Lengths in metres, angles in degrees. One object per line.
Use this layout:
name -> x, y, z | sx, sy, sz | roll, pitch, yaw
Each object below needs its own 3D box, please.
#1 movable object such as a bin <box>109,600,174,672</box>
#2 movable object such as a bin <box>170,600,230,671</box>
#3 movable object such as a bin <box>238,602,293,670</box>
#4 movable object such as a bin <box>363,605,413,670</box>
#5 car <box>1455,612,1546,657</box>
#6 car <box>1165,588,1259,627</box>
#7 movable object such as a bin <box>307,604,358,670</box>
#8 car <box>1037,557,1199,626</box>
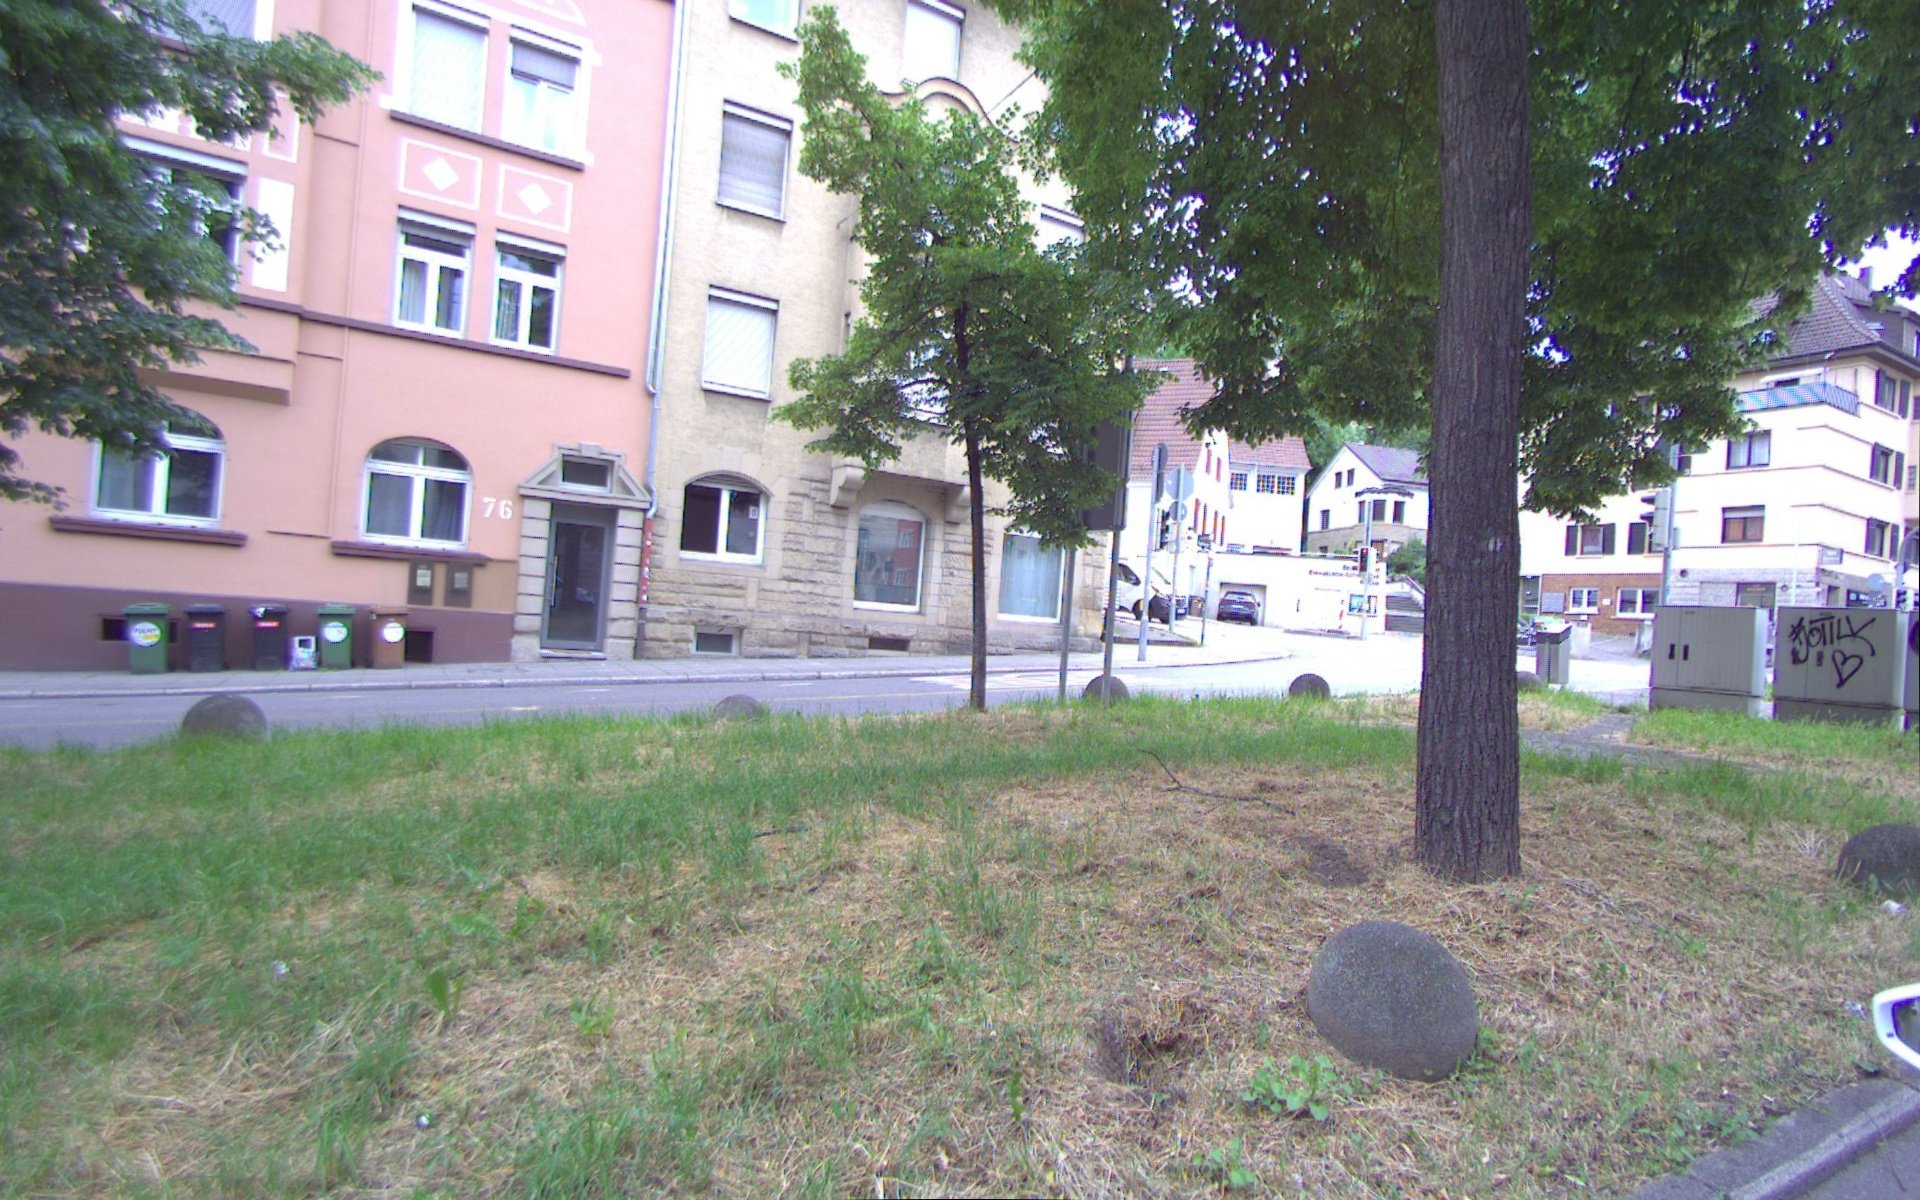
movable object such as a bin -> -11.000, 0.471, 13.513 | 0.595, 0.916, 0.605 | 1, 2, -33
movable object such as a bin -> -10.465, 0.482, 13.841 | 0.595, 0.916, 0.605 | 1, 2, -33
movable object such as a bin -> -9.812, 0.500, 14.207 | 0.595, 0.916, 0.605 | 1, 2, -33
movable object such as a bin -> -8.512, 0.549, 14.945 | 0.595, 0.916, 0.605 | 1, 2, -33
car -> 22.473, 1.416, 41.953 | 1.844, 1.687, 4.002 | 3, -1, 4
car -> 11.290, 0.315, 44.903 | 3.920, 1.530, 1.800 | 2, 1, 18
movable object such as a bin -> -9.106, 0.528, 14.583 | 0.595, 0.916, 0.605 | 1, 2, -33
car -> 5.355, -0.331, 34.450 | 5.104, 2.092, 1.987 | 4, 2, 39
